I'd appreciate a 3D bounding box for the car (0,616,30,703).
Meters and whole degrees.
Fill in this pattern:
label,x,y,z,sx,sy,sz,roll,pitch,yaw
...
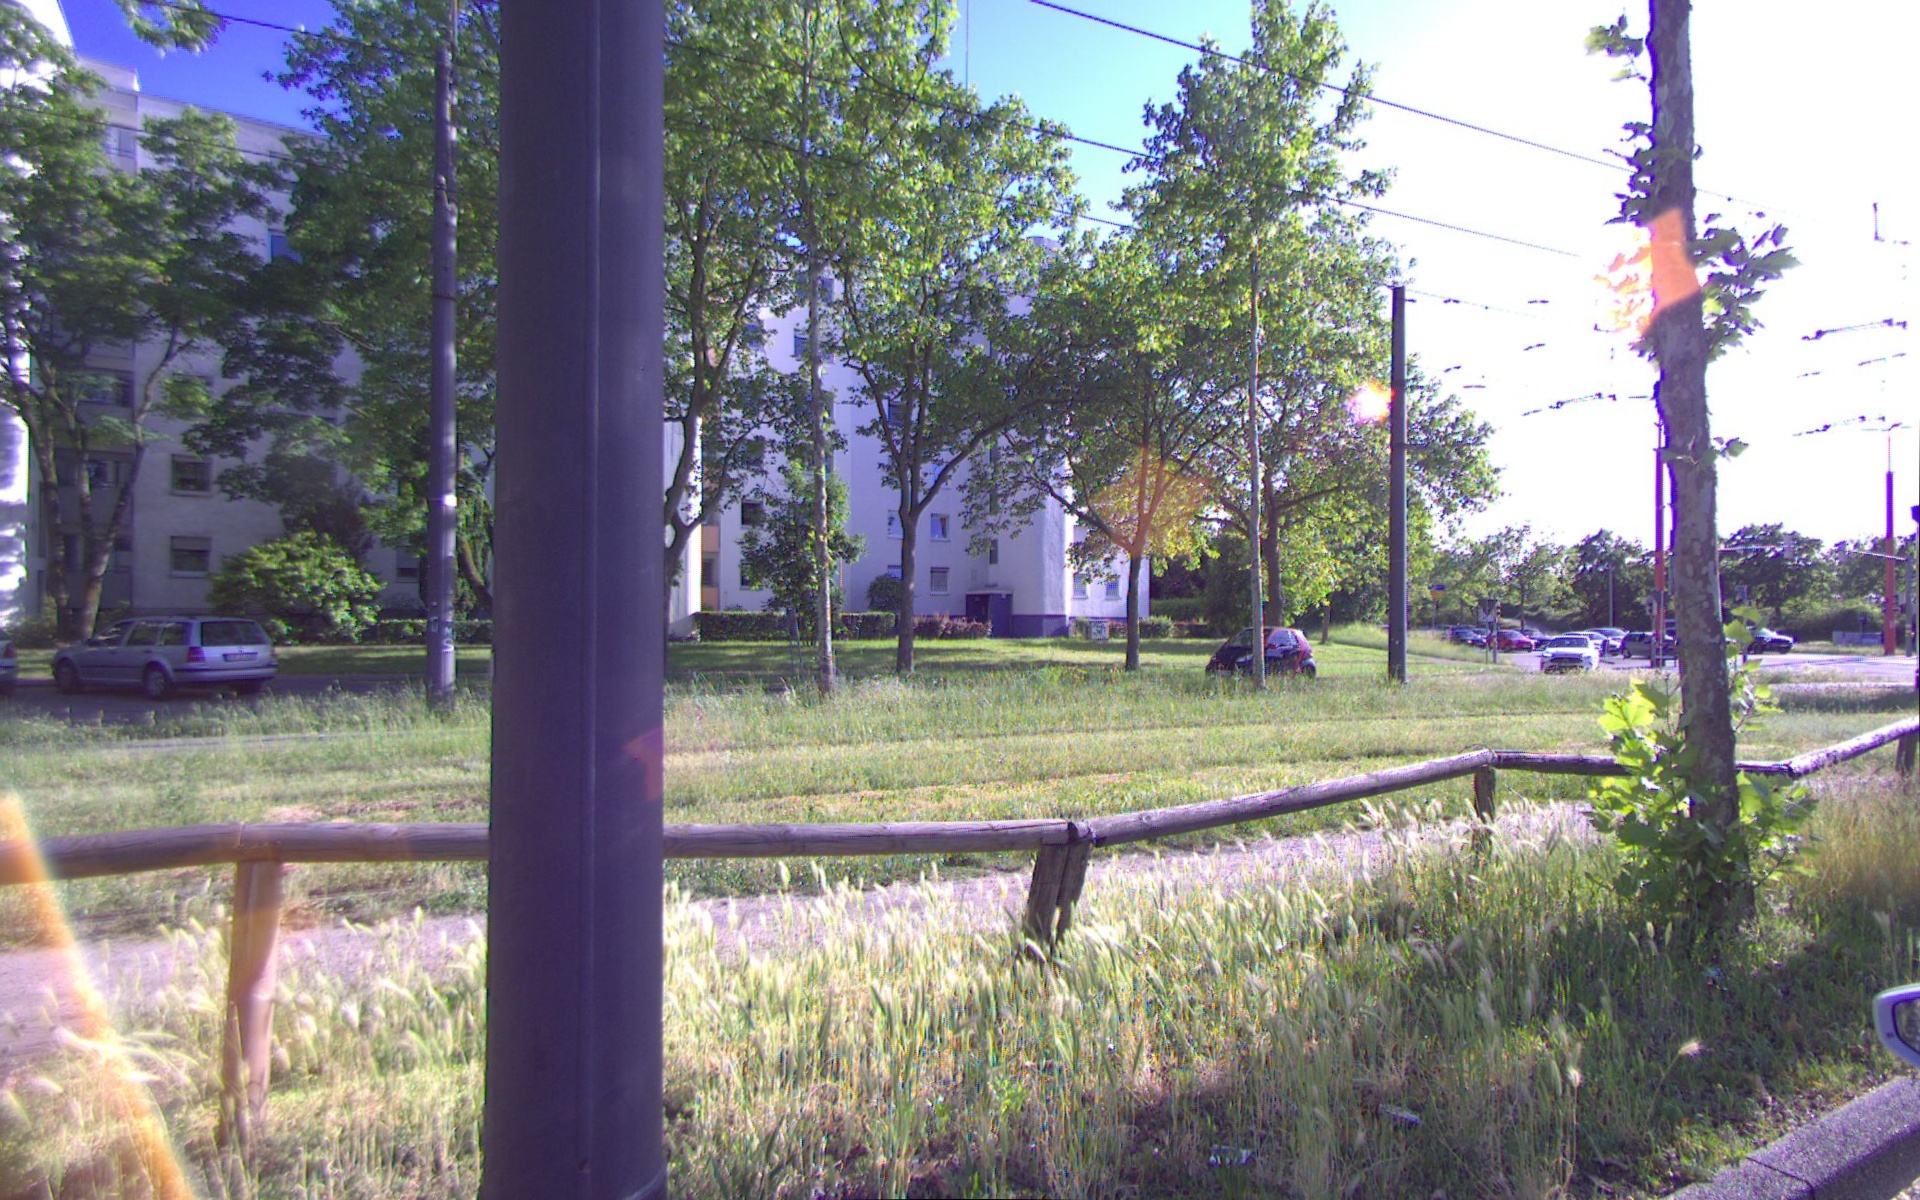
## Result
label,x,y,z,sx,sy,sz,roll,pitch,yaw
car,-17.943,0.983,17.104,3.547,1.439,1.576,1,0,18

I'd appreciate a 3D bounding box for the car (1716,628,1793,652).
label,x,y,z,sx,sy,sz,roll,pitch,yaw
car,48.772,2.428,61.733,1.664,1.347,4.001,1,-1,2

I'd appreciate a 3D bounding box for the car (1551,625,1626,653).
label,x,y,z,sx,sy,sz,roll,pitch,yaw
car,38.998,2.409,62.441,1.833,1.633,4.185,1,-1,-4

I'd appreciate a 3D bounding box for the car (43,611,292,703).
label,x,y,z,sx,sy,sz,roll,pitch,yaw
car,-14.555,0.984,18.488,3.898,1.462,1.710,1,0,18

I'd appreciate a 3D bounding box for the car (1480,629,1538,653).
label,x,y,z,sx,sy,sz,roll,pitch,yaw
car,38.448,2.865,70.418,1.699,1.533,3.998,1,-1,-4

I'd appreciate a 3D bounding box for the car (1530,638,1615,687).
label,x,y,z,sx,sy,sz,roll,pitch,yaw
car,24.588,2.456,40.252,1.972,1.754,4.817,0,-1,43

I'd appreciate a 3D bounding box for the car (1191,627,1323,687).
label,x,y,z,sx,sy,sz,roll,pitch,yaw
car,7.532,1.403,25.499,2.816,1.409,1.790,1,-1,-30

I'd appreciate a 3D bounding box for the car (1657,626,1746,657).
label,x,y,z,sx,sy,sz,roll,pitch,yaw
car,42.587,2.345,57.819,1.962,1.666,3.997,1,-1,-5
